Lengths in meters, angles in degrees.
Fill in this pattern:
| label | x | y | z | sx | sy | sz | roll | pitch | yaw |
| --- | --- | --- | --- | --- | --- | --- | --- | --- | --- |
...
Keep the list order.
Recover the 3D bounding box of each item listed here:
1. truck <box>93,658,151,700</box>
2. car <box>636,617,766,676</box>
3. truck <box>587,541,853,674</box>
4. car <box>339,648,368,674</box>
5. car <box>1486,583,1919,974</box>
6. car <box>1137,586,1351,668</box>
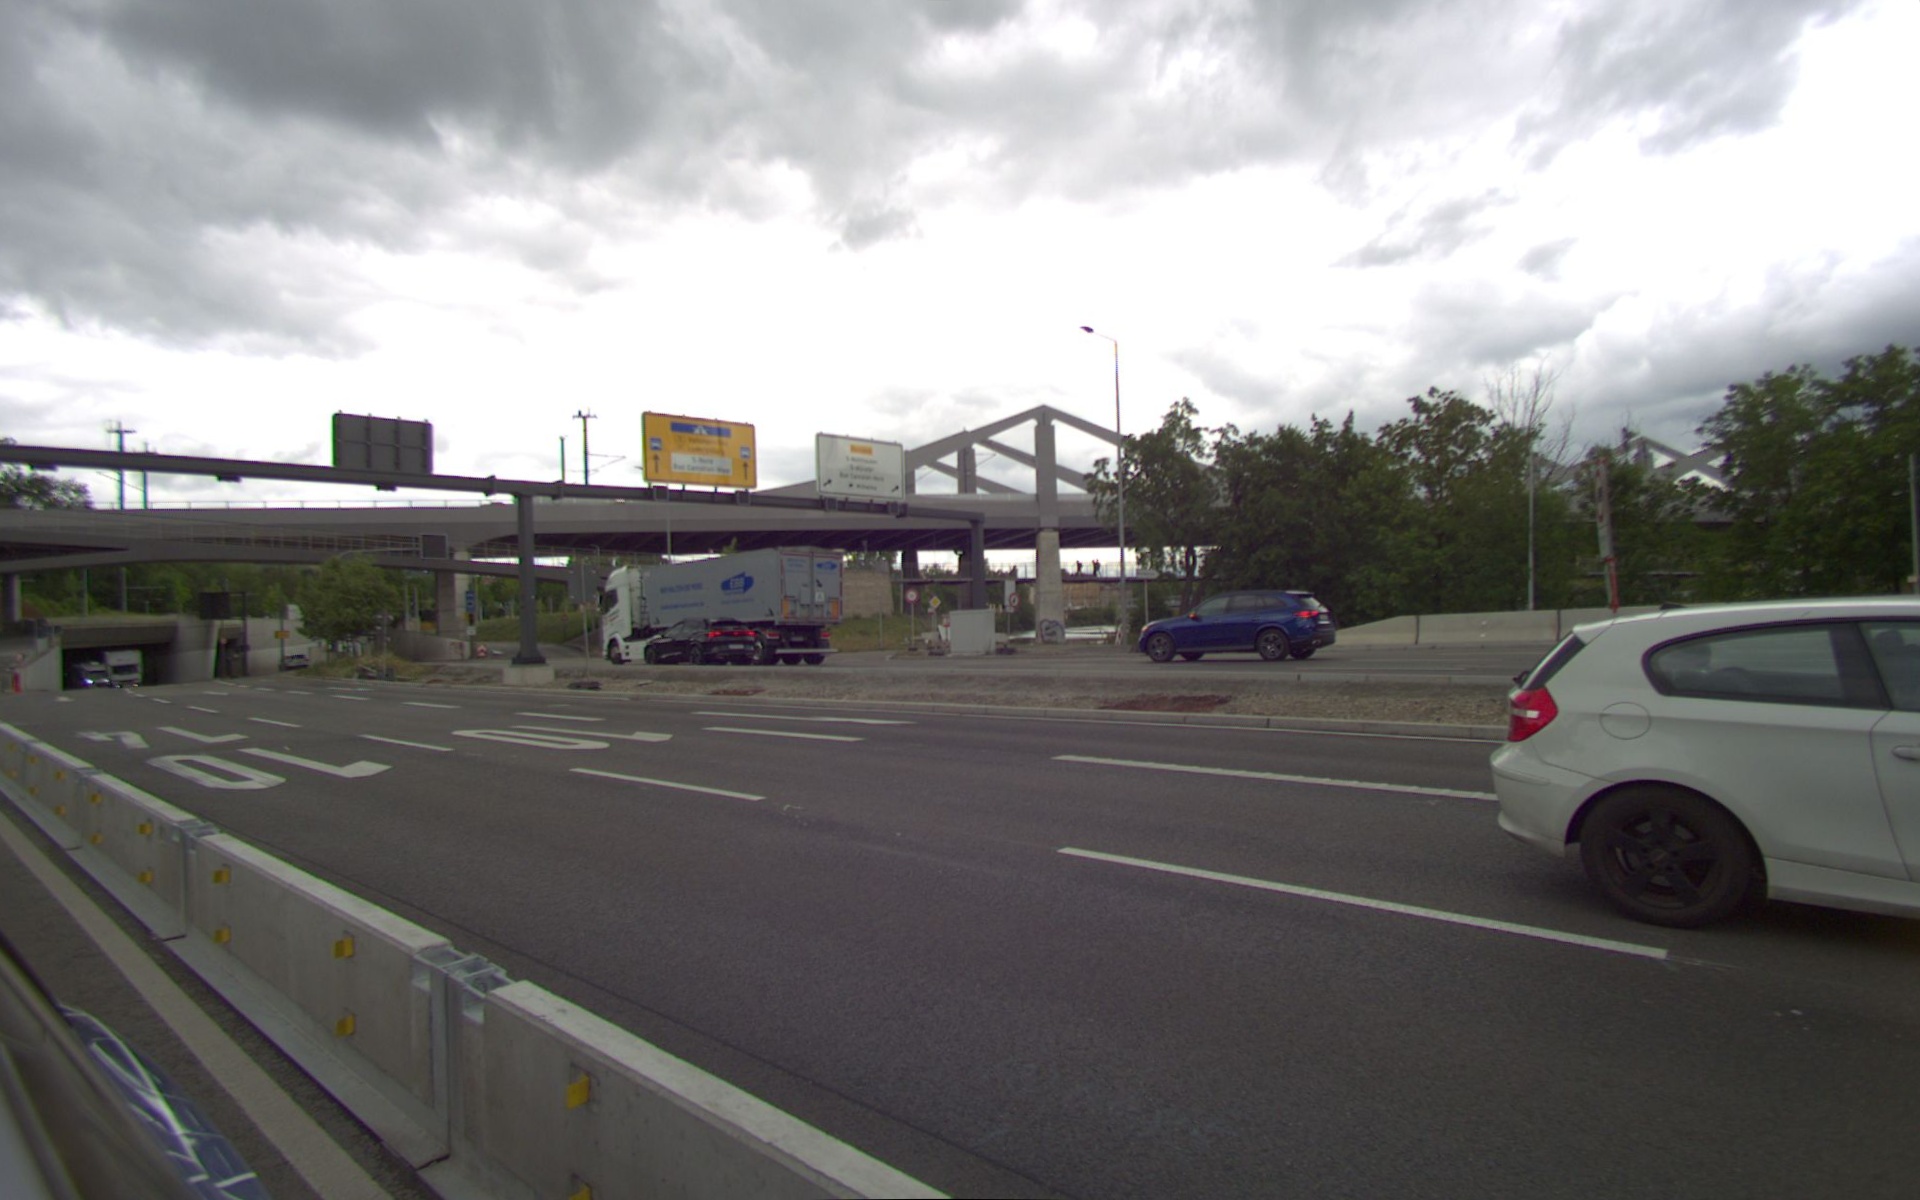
| label | x | y | z | sx | sy | sz | roll | pitch | yaw |
| --- | --- | --- | --- | --- | --- | --- | --- | --- | --- |
| truck | -69.325 | 6.466 | 83.662 | 8.121 | 3.150 | 2.711 | -4 | 0 | 44 |
| car | -7.820 | 1.433 | 30.363 | 4.452 | 1.633 | 1.687 | -4 | -5 | 43 |
| truck | -9.452 | 0.591 | 37.610 | 2.865 | 4.093 | 13.999 | -1 | -3 | -44 |
| car | -46.918 | 4.678 | 78.262 | 1.801 | 1.821 | 3.811 | 0 | -1 | -33 |
| car | 4.552 | 0.635 | 4.073 | 3.980 | 1.444 | 1.621 | -5 | -2 | 42 |
| car | 6.712 | 0.668 | 24.168 | 4.483 | 1.696 | 1.867 | -4 | -1 | 39 |
